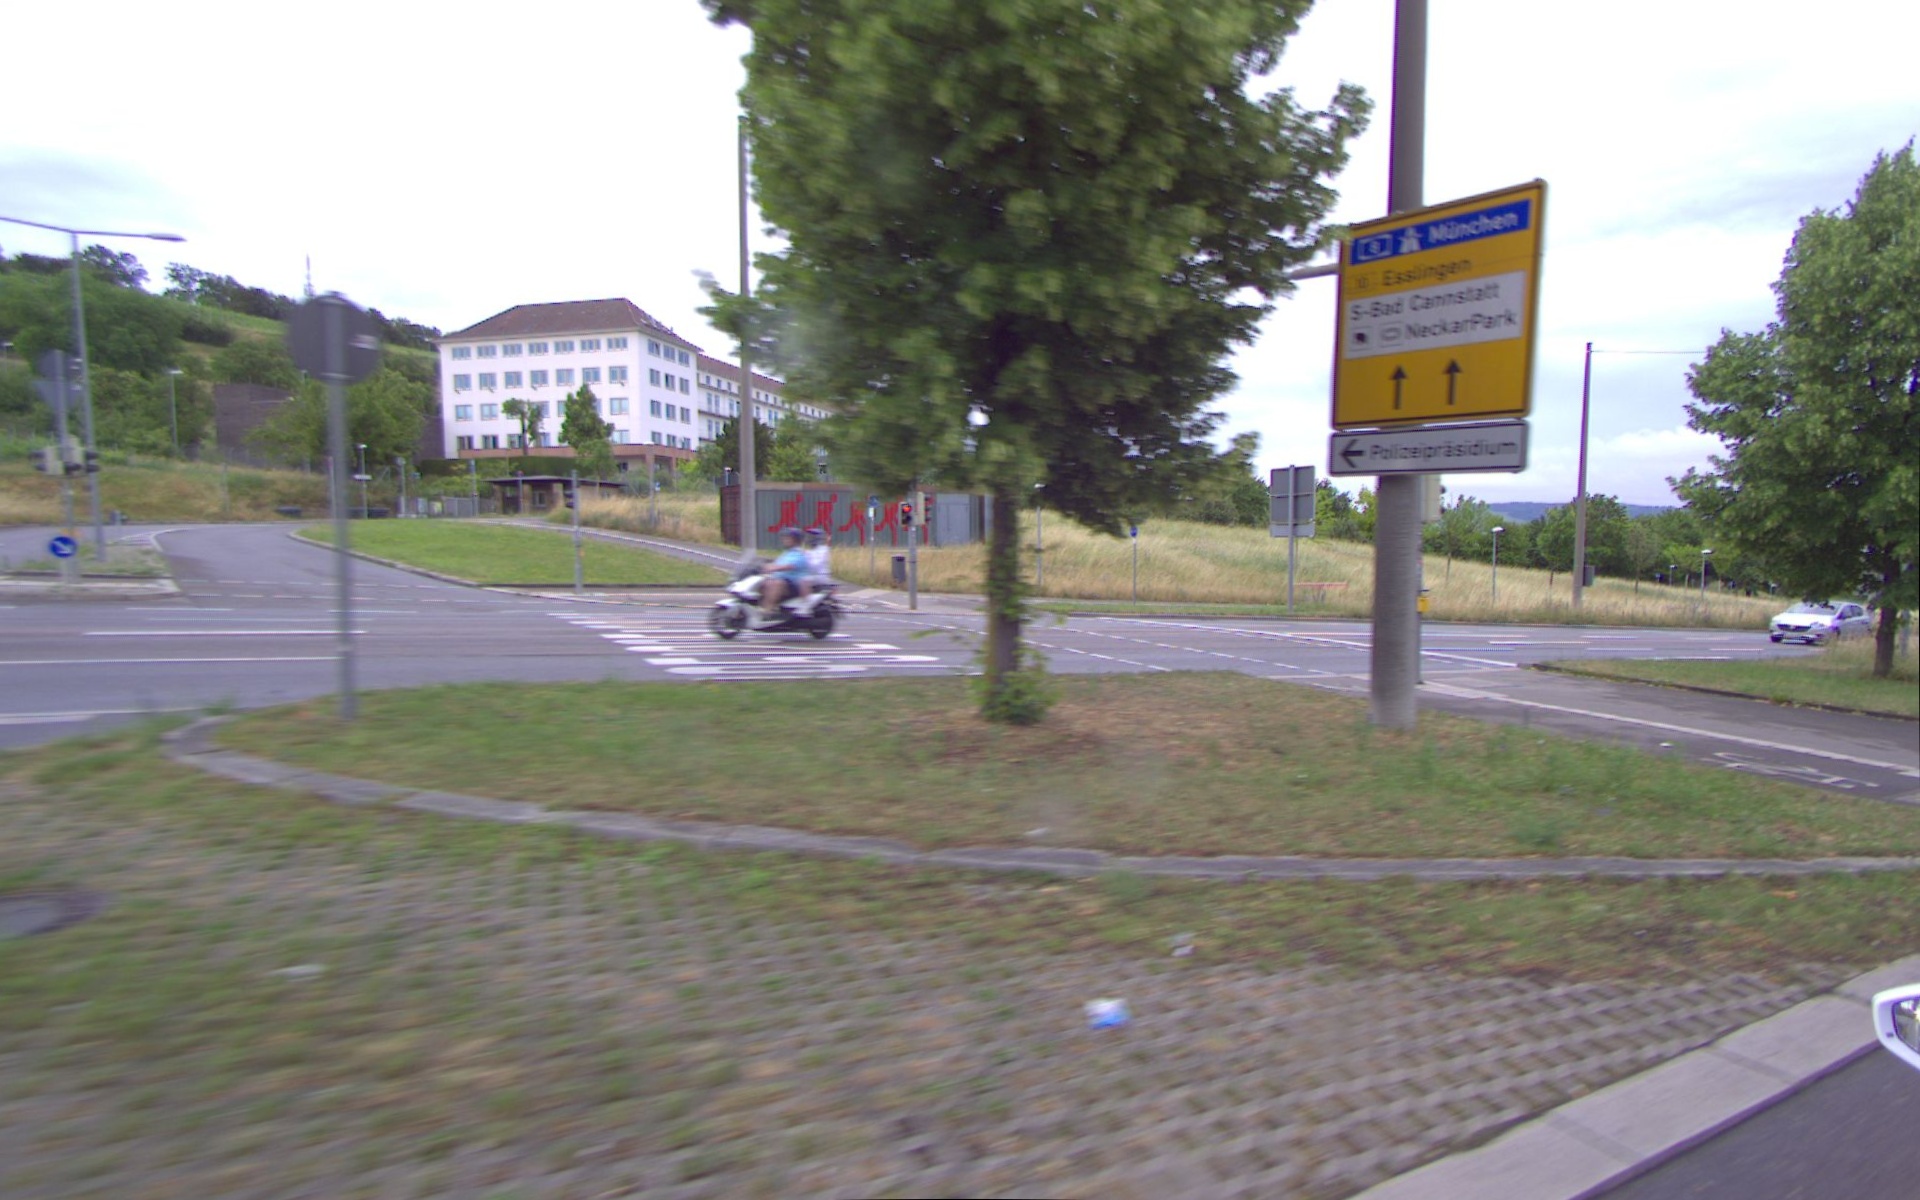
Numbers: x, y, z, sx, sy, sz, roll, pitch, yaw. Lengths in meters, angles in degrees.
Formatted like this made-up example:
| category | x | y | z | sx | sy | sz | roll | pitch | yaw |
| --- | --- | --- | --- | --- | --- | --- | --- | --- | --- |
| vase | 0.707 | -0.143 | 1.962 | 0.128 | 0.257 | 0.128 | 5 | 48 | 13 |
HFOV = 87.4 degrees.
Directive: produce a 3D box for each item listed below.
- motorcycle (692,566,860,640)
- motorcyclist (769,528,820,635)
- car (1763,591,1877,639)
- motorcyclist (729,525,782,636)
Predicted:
| category | x | y | z | sx | sy | sz | roll | pitch | yaw |
| --- | --- | --- | --- | --- | --- | --- | --- | --- | --- |
| motorcycle | -2.790 | 0.028 | 15.373 | 2.473 | 1.064 | 0.613 | 0 | 3 | -31 |
| motorcyclist | -2.557 | -0.290 | 15.500 | 0.575 | 1.603 | 0.609 | 0 | 3 | -31 |
| car | 28.630 | 0.505 | 33.423 | 3.878 | 1.408 | 1.532 | 2 | 2 | -28 |
| motorcyclist | -3.087 | -0.303 | 15.141 | 0.636 | 1.618 | 0.579 | -1 | 4 | -31 |
